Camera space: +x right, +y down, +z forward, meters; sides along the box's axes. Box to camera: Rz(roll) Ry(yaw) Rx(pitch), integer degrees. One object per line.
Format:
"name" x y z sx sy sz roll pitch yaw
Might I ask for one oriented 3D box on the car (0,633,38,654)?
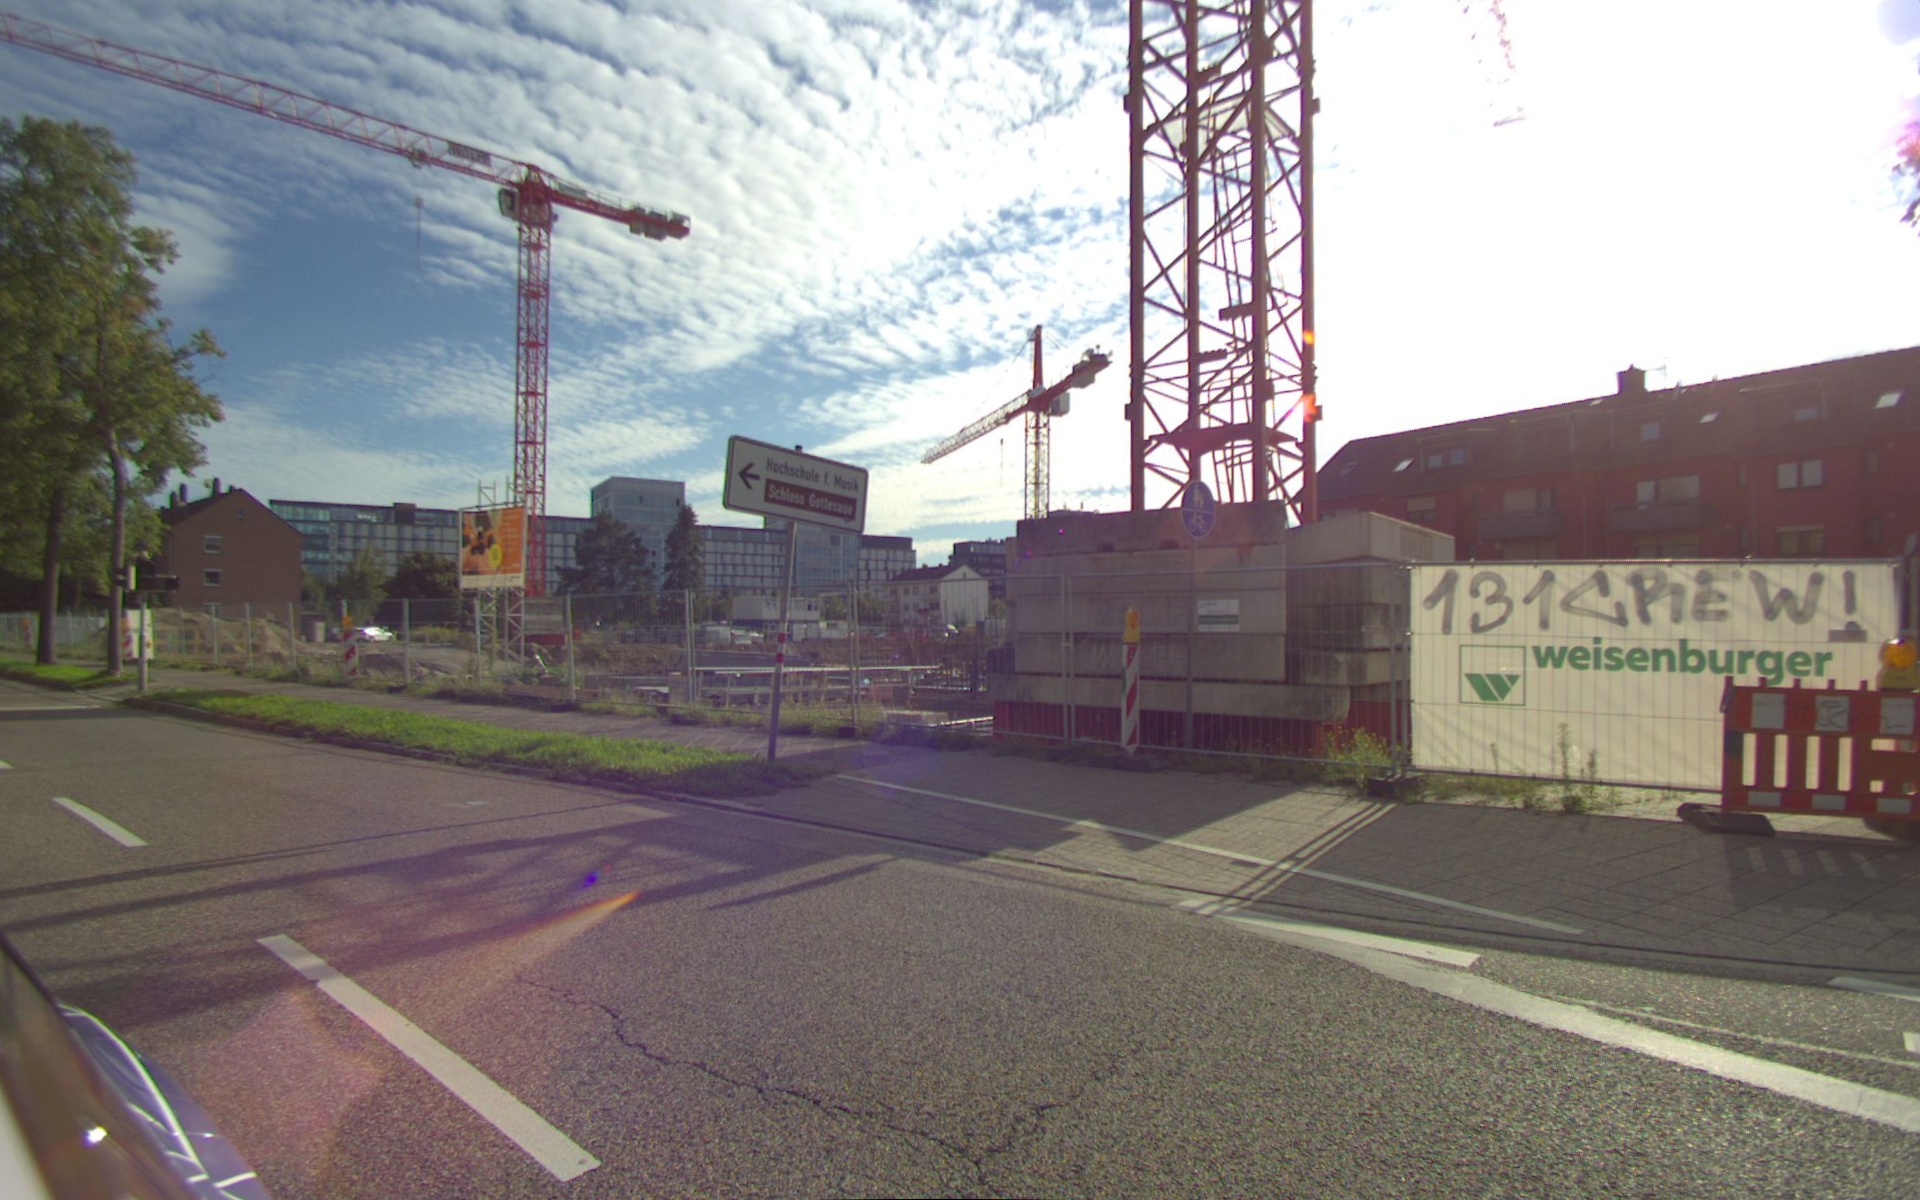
"car" -70.879 3.260 75.911 4.506 1.439 1.972 0 -2 41

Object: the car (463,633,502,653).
"car" -47.652 4.239 100.976 3.974 1.821 1.797 1 0 34
